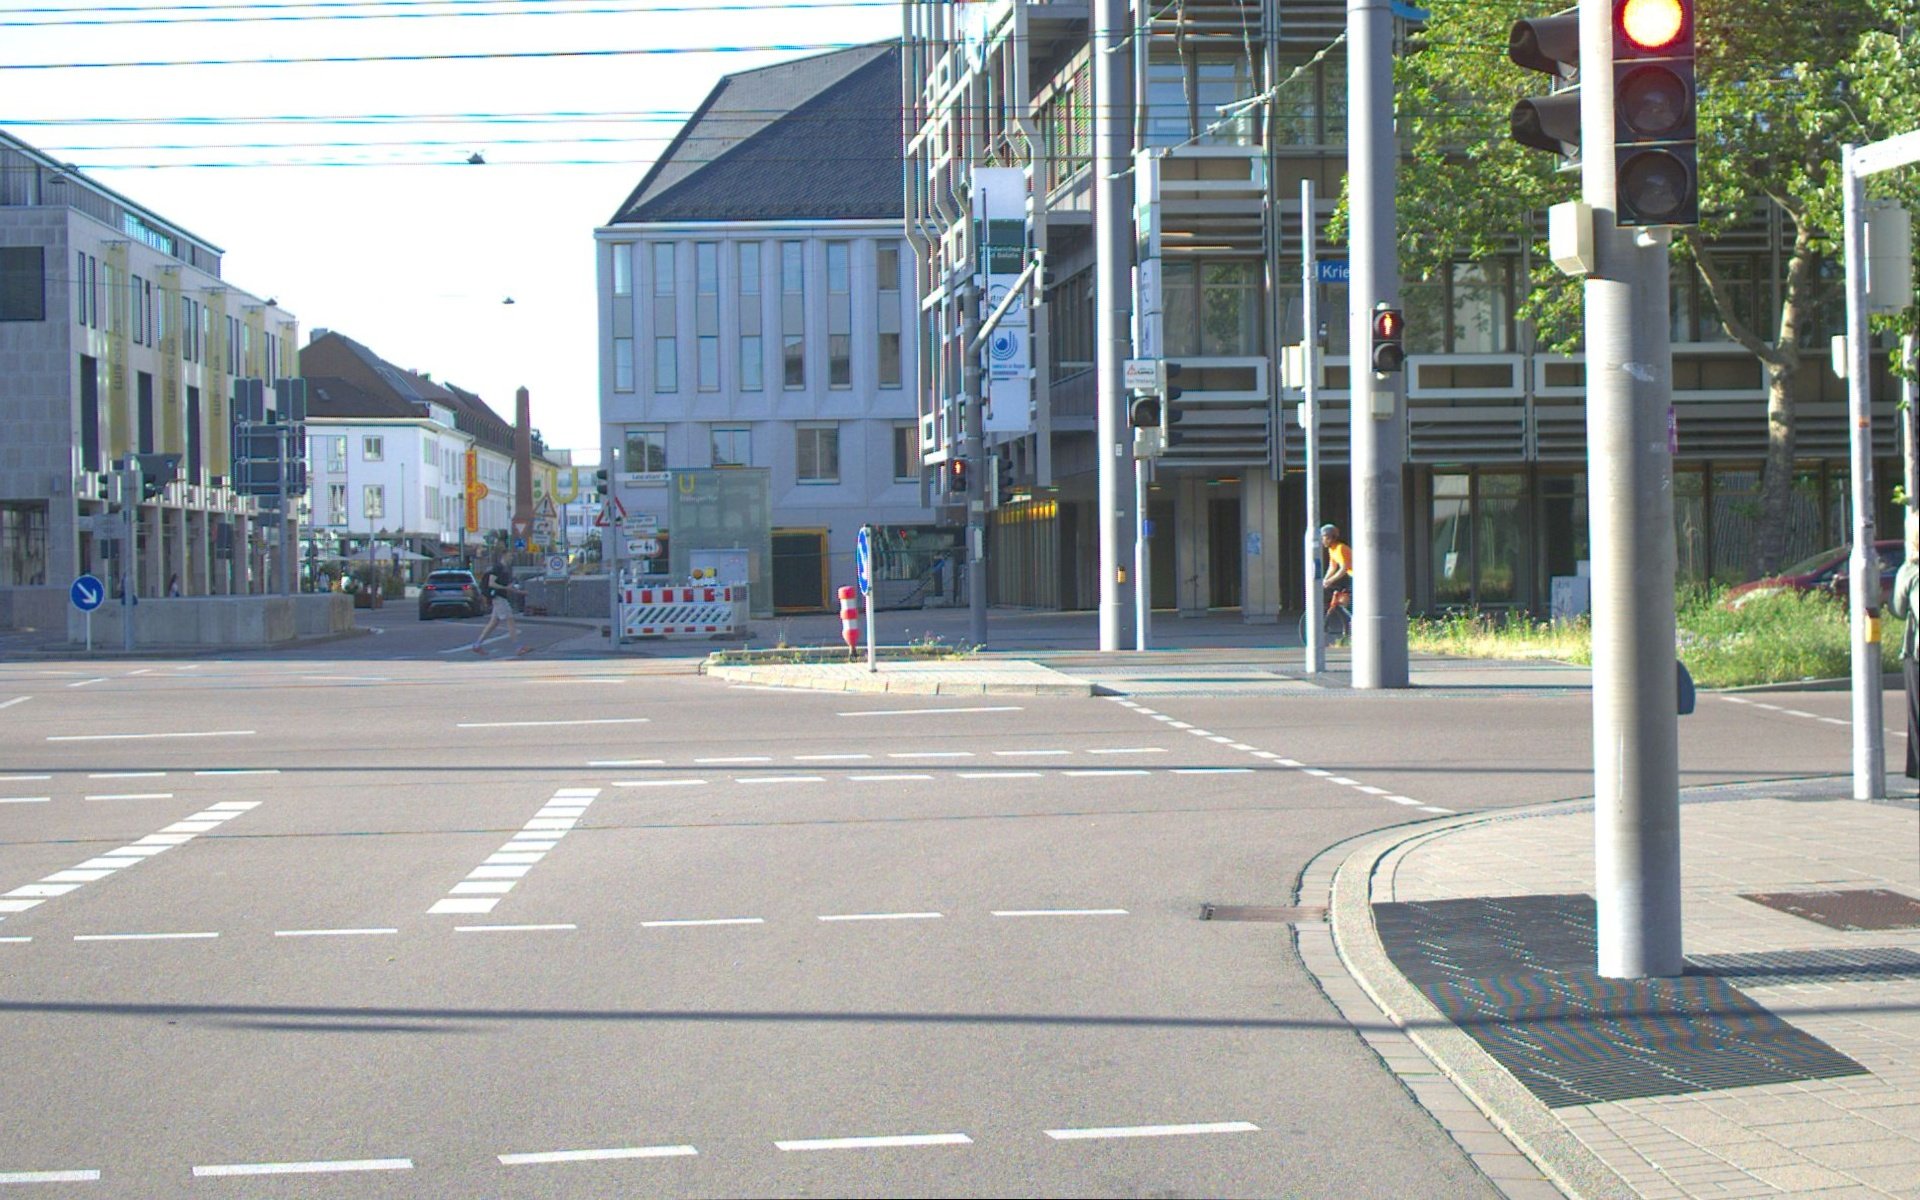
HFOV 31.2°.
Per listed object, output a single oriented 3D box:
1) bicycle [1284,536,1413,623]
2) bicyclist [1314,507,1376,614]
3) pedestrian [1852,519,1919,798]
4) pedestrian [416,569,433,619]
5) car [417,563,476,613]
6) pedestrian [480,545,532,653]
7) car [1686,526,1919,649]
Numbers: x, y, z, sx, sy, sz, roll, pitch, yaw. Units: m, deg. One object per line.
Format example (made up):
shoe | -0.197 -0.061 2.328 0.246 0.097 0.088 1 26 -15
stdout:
bicycle | 5.276 -0.283 46.697 1.644 1.150 0.497 1 0 -9
bicyclist | 5.224 -0.533 46.674 0.711 1.432 0.497 1 0 -9
pedestrian | 5.339 0.312 18.679 0.788 1.487 0.644 1 0 -1
pedestrian | -18.228 -0.210 117.002 0.521 1.674 0.583 1 1 -7
car | -16.145 -0.390 108.208 1.737 1.525 3.856 1 1 -7
pedestrian | -8.073 -0.021 61.134 0.642 1.883 0.790 1 0 14
car | 11.907 -0.180 46.156 3.884 1.579 1.660 -1 1 -7
